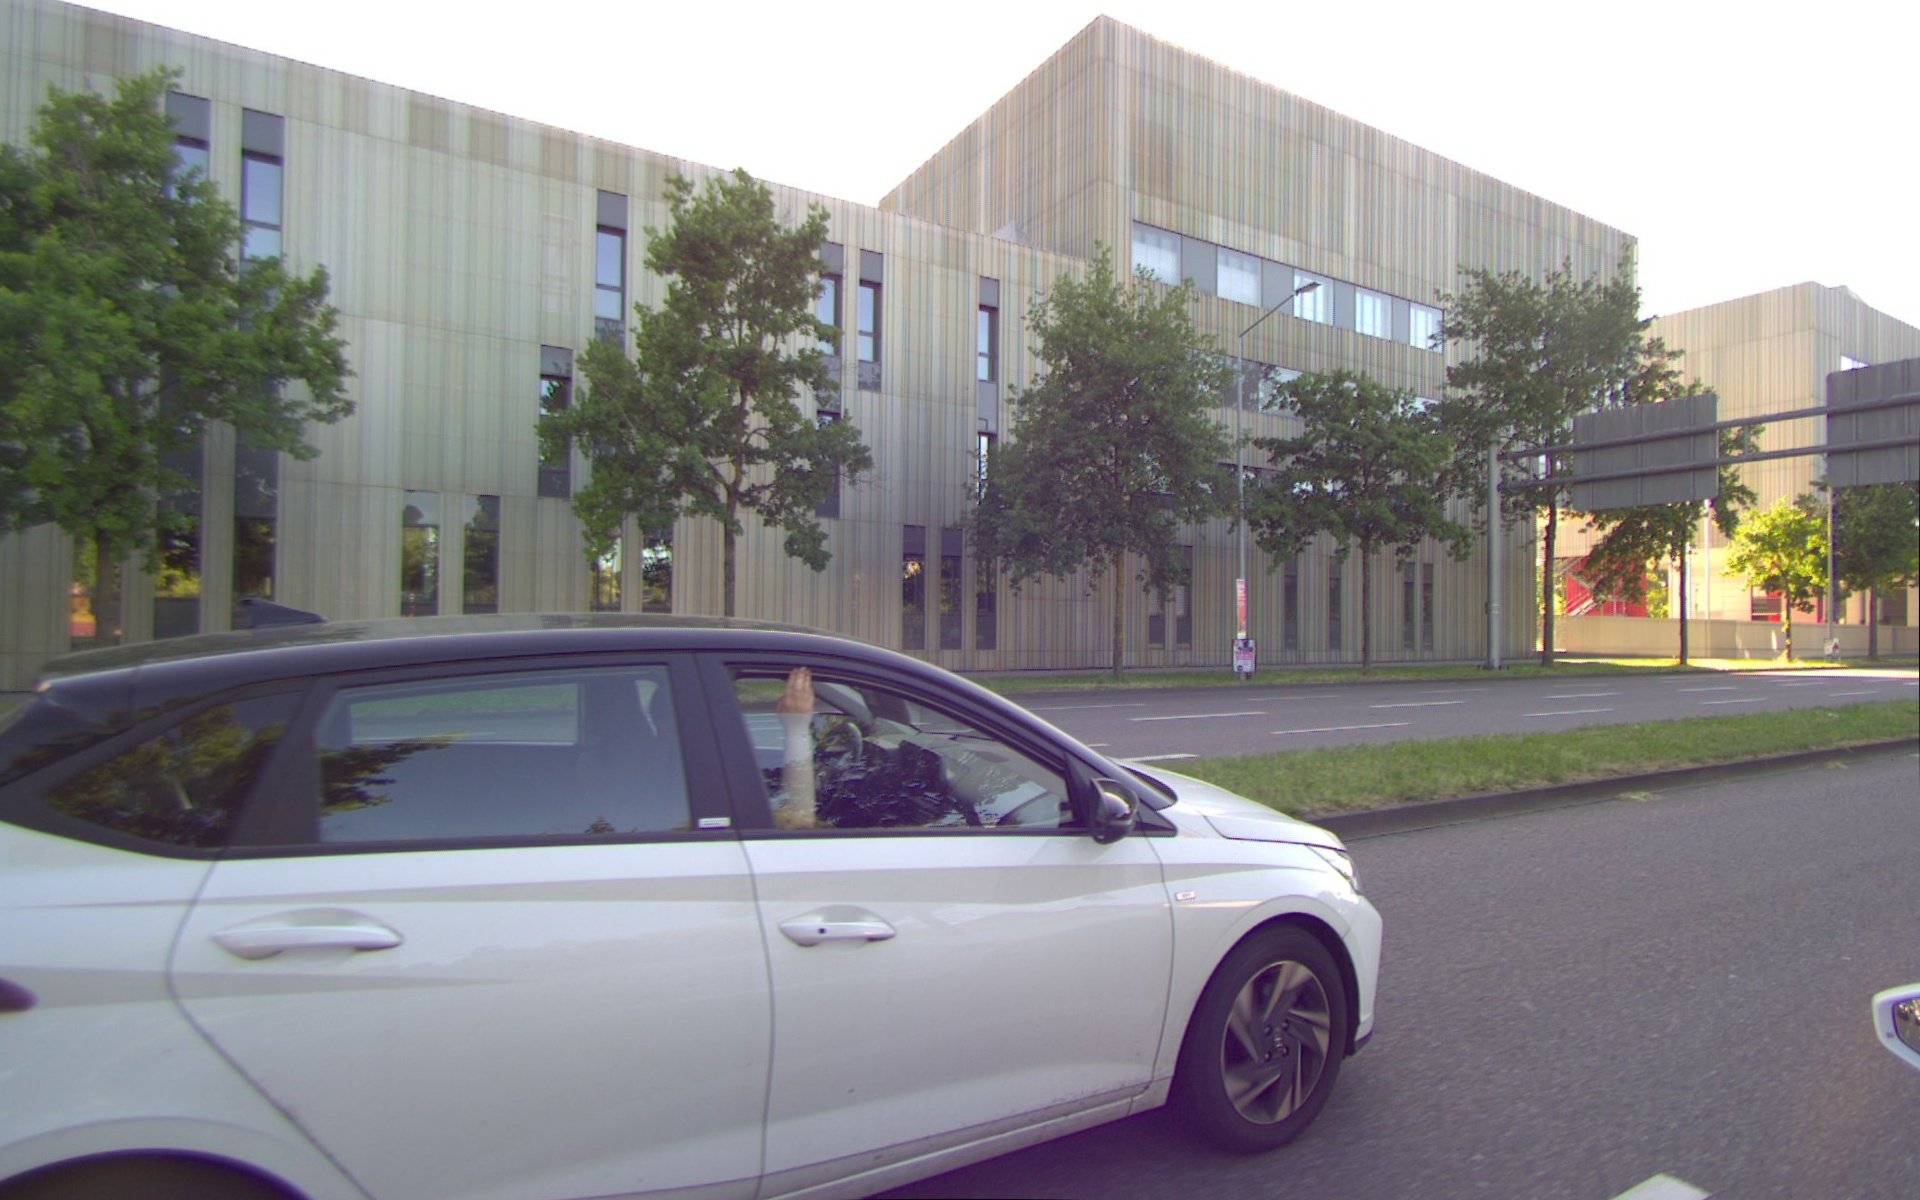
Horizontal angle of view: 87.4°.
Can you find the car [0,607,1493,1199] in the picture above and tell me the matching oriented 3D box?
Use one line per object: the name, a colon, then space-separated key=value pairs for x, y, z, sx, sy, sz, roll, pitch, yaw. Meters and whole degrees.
car: x=-0.478 y=0.766 z=2.917 sx=4.028 sy=1.427 sz=1.769 roll=1 pitch=-1 yaw=-31
